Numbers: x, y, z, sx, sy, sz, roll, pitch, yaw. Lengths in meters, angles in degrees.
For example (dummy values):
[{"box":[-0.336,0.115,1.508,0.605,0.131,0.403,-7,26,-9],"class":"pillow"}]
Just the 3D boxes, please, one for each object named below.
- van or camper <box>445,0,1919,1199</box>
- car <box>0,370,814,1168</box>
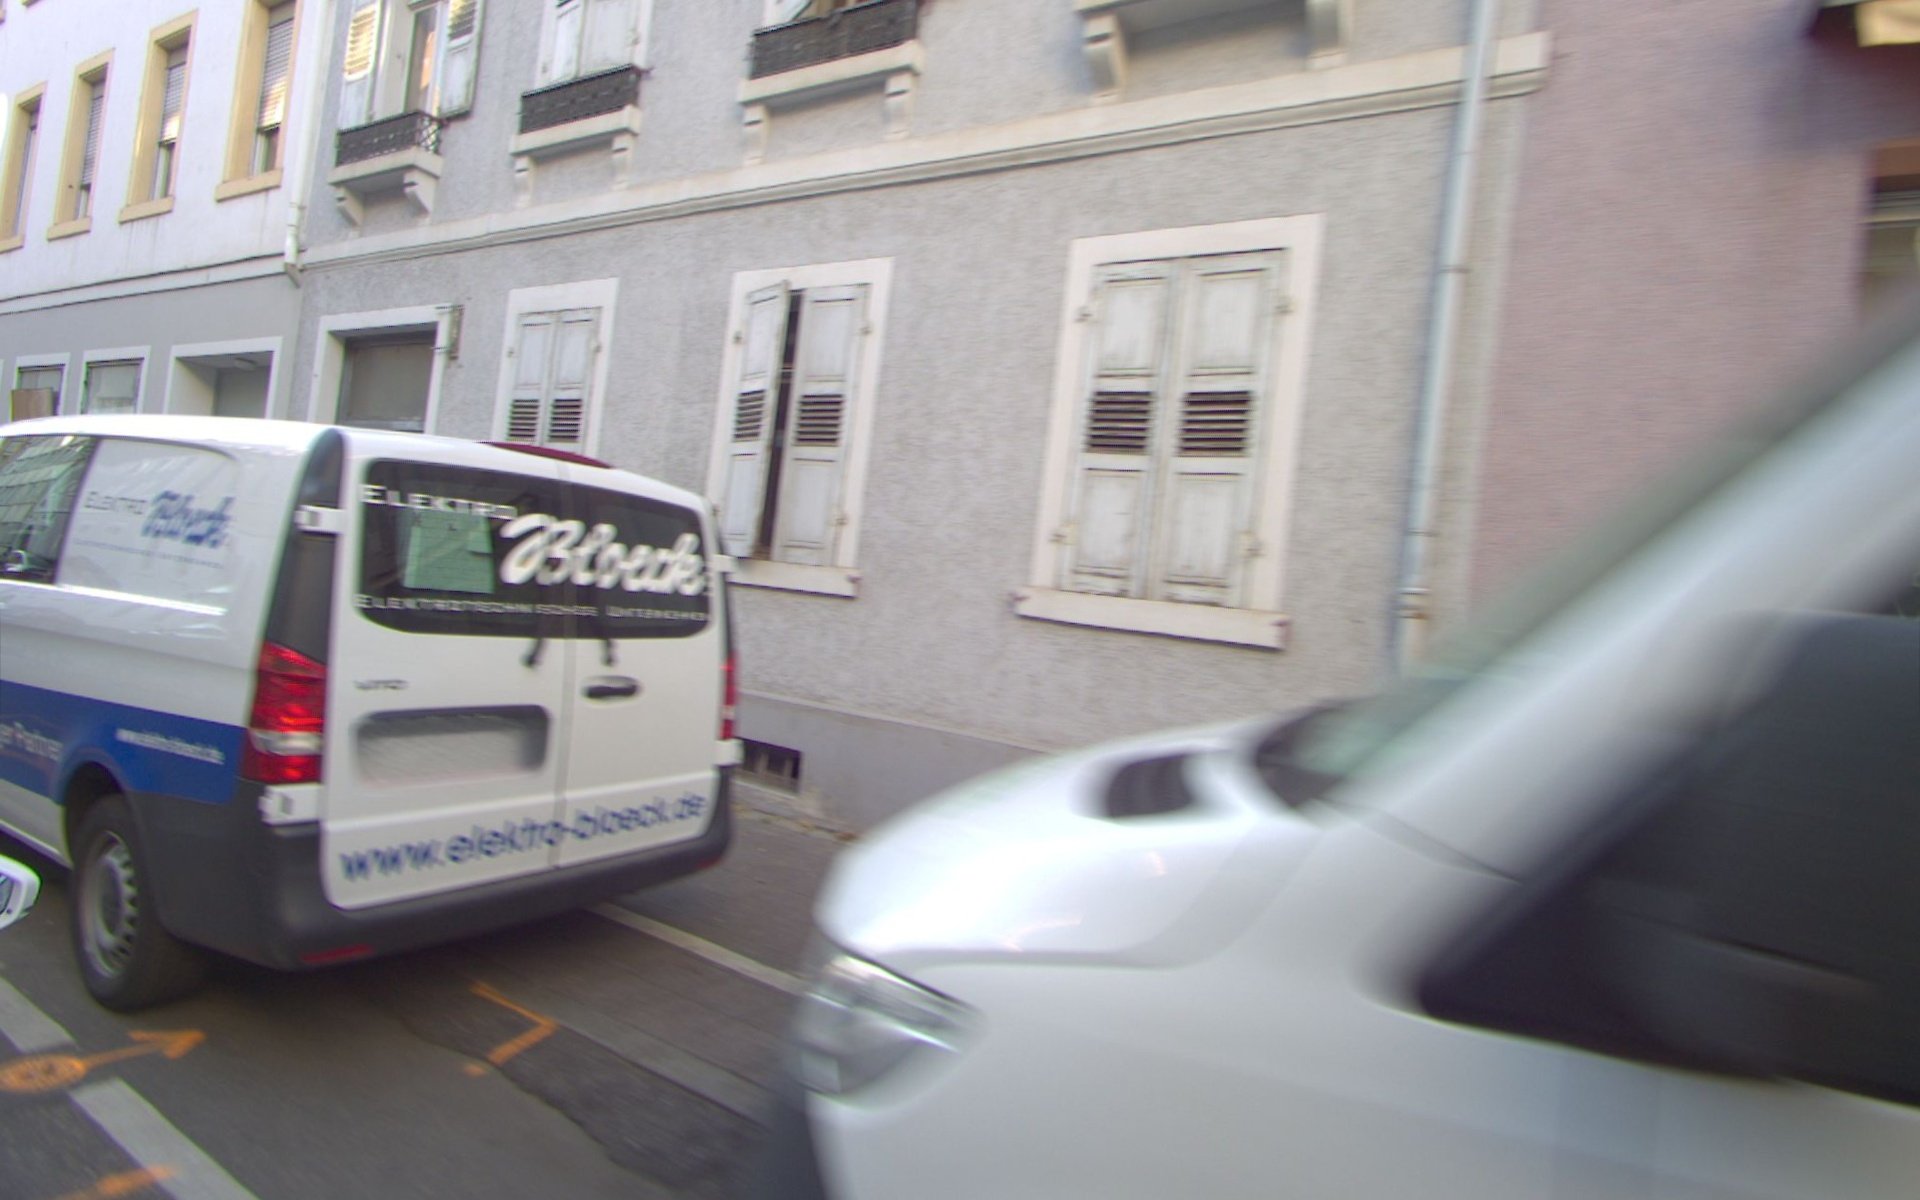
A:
[{"box":[2.816,0.588,0.375,6.947,2.669,2.053,6,-1,32],"class":"van or camper"},{"box":[-3.379,0.221,4.589,5.229,1.920,1.941,6,2,31],"class":"car"}]
